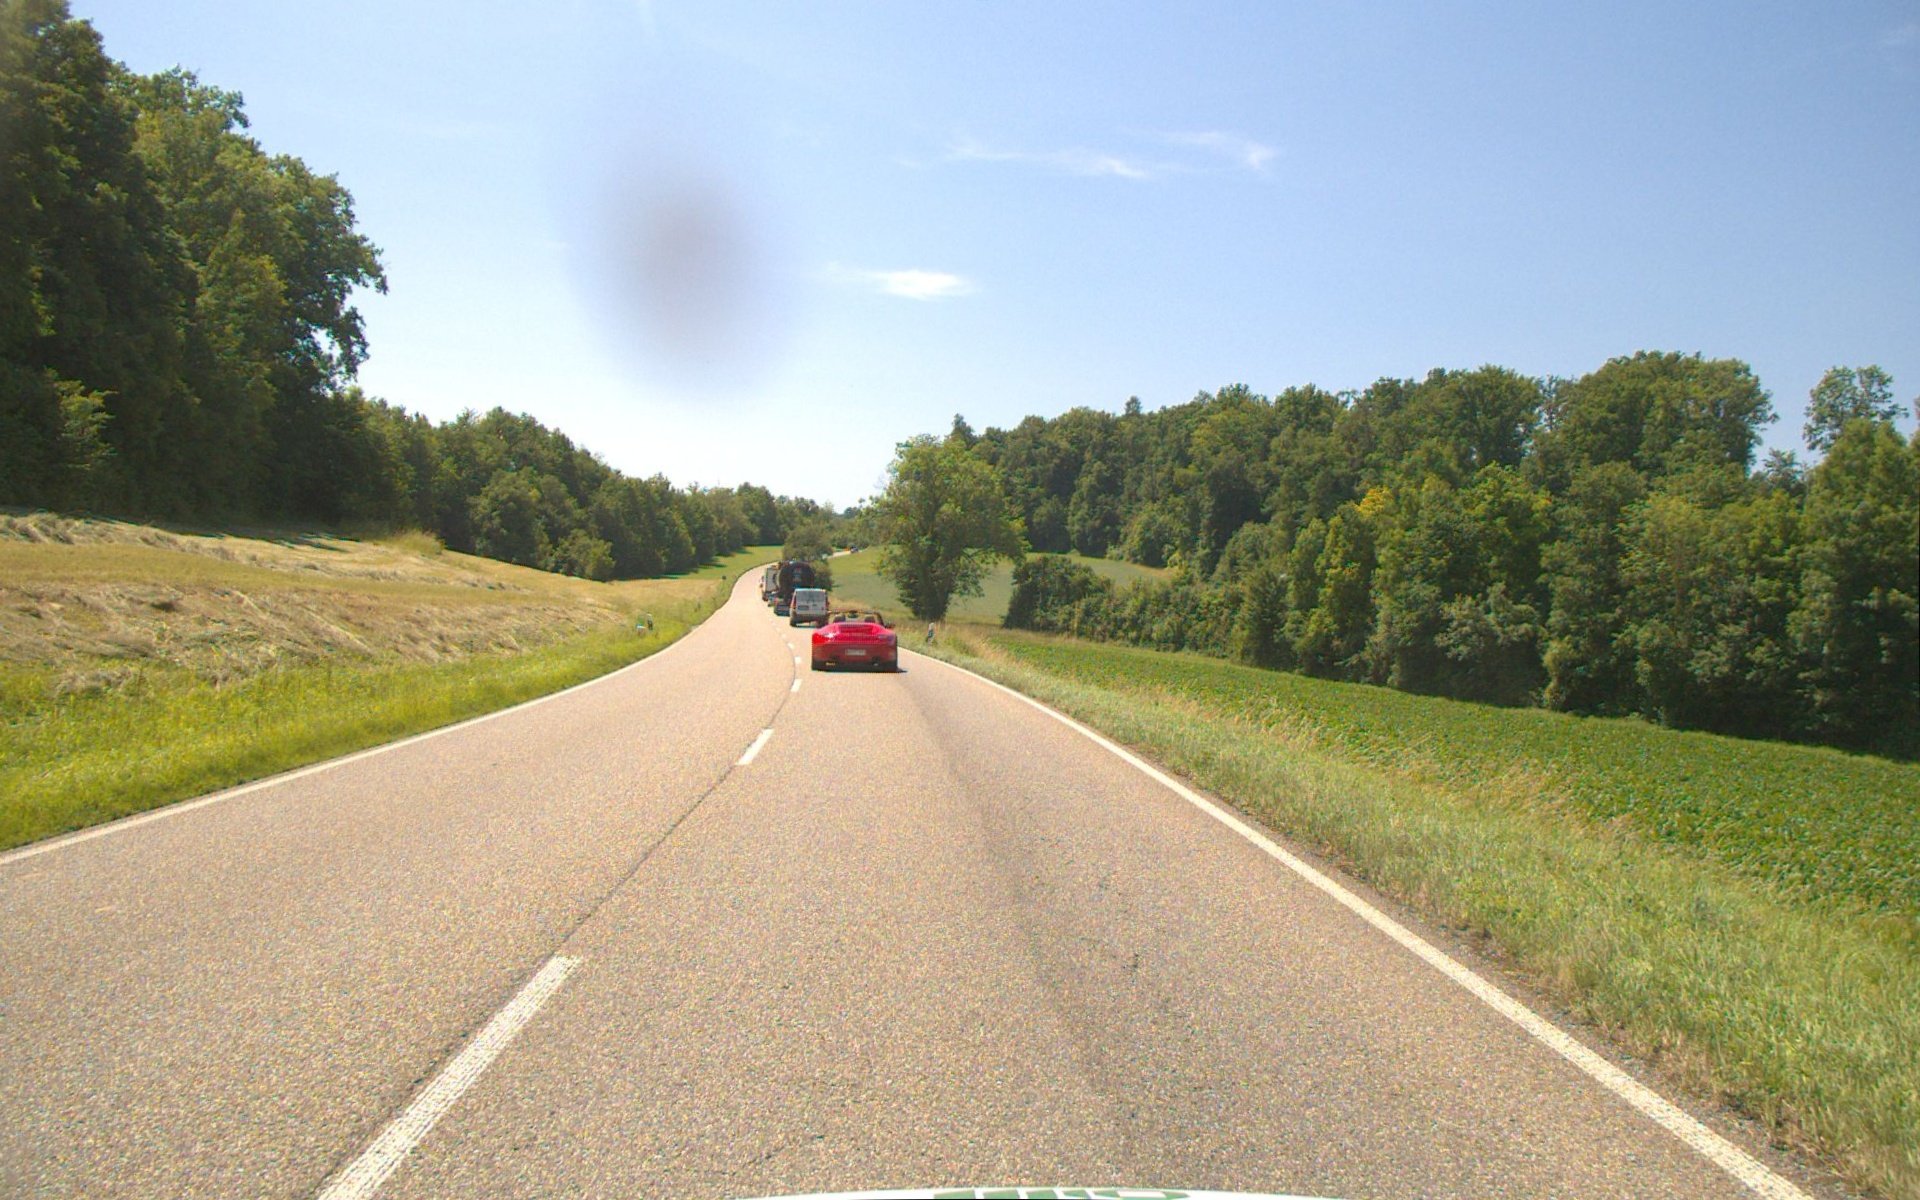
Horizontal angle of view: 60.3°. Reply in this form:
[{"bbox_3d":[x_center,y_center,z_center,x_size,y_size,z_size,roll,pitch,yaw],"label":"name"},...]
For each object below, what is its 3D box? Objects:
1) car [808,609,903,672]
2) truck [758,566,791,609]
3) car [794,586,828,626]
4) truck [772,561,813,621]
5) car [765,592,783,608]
[{"bbox_3d":[-2.229,0.840,36.099,1.844,1.277,4.008,1,0,-1],"label":"car"},{"bbox_3d":[-23.126,-1.578,205.780,3.655,4.740,12.014,1,3,-8],"label":"truck"},{"bbox_3d":[-7.566,0.291,84.094,1.646,1.934,4.005,1,0,-5],"label":"car"},{"bbox_3d":[-12.249,-0.767,120.383,2.359,4.120,12.528,1,1,-8],"label":"truck"},{"bbox_3d":[-18.727,-0.010,166.292,1.690,1.612,4.153,1,0,-8],"label":"car"}]
